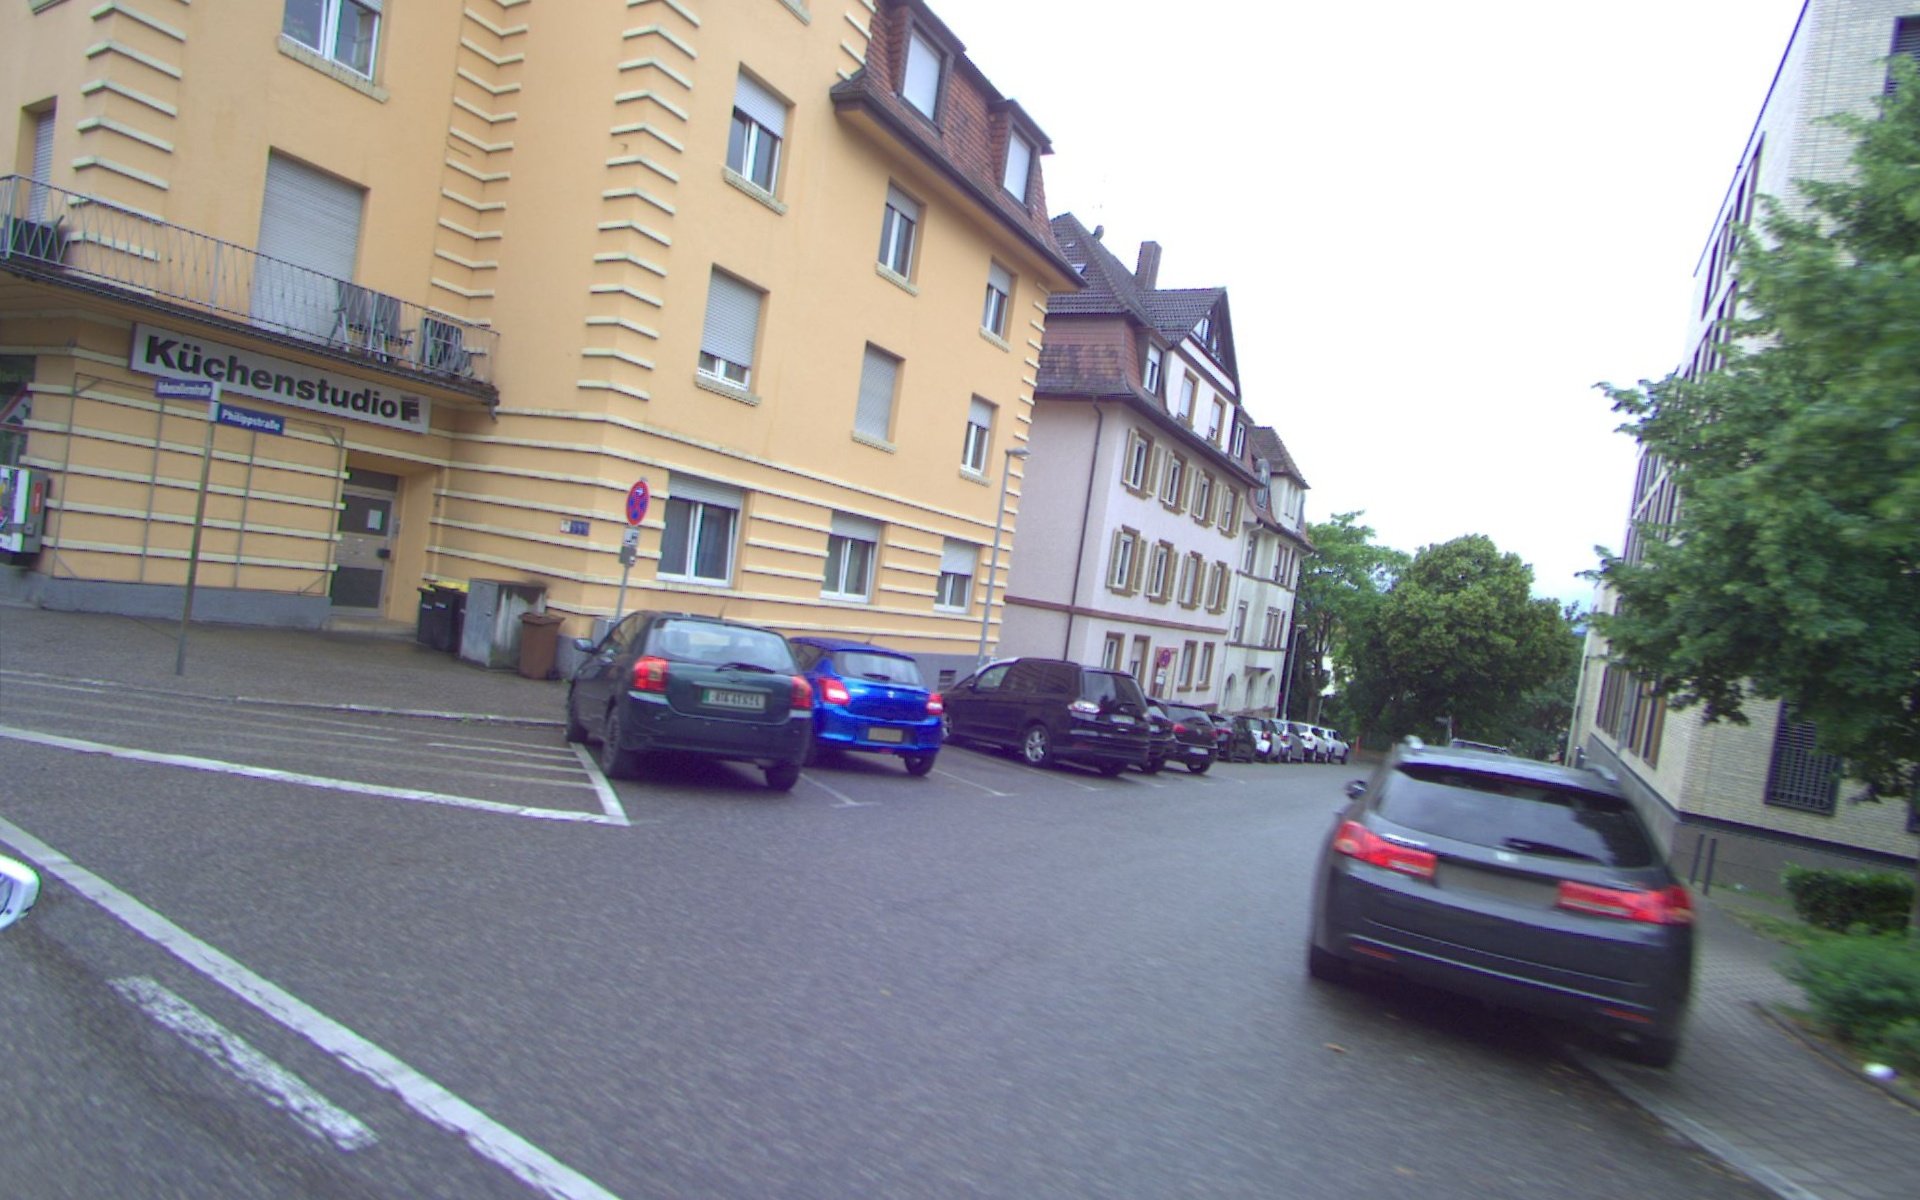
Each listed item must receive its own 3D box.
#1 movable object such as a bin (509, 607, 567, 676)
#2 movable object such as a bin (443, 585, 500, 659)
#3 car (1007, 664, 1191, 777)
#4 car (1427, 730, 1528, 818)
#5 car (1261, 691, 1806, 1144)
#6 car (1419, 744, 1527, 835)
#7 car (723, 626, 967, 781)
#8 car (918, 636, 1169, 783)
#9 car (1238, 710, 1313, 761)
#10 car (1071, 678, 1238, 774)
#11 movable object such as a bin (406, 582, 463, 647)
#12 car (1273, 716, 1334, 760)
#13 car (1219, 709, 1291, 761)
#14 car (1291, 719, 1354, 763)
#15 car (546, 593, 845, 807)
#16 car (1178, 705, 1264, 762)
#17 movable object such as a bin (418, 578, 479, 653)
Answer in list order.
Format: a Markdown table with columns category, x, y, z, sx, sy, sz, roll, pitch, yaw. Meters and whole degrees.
| category | x | y | z | sx | sy | sz | roll | pitch | yaw |
| --- | --- | --- | --- | --- | --- | --- | --- | --- | --- |
| movable object such as a bin | -6.252 | 0.619 | 14.911 | 0.504 | 0.942 | 0.505 | 10 | 3 | 32 |
| movable object such as a bin | -7.536 | 0.348 | 15.530 | 0.504 | 1.055 | 0.505 | 10 | 3 | 32 |
| car | 2.619 | 2.294 | 19.782 | 1.690 | 1.485 | 3.590 | 11 | -2 | -26 |
| car | 13.664 | 4.513 | 26.415 | 1.935 | 1.726 | 4.336 | 10 | -3 | 31 |
| car | 3.401 | 1.596 | 6.481 | 1.967 | 1.514 | 4.284 | 9 | -3 | 26 |
| car | 11.206 | 4.062 | 21.968 | 1.747 | 1.440 | 3.530 | 10 | -3 | 28 |
| car | -1.600 | 1.221 | 12.791 | 1.690 | 1.508 | 3.614 | 9 | -5 | -28 |
| car | 1.288 | 1.804 | 17.472 | 1.694 | 1.744 | 4.497 | 10 | -2 | -34 |
| car | 12.428 | 5.357 | 39.463 | 1.796 | 1.551 | 3.861 | 10 | -3 | 31 |
| car | 4.168 | 2.705 | 22.105 | 1.687 | 1.487 | 3.590 | 6 | 0 | -26 |
| movable object such as a bin | -8.501 | 0.241 | 16.286 | 0.504 | 0.929 | 0.506 | 10 | 0 | 32 |
| car | 14.980 | 6.031 | 43.756 | 1.545 | 1.544 | 3.825 | 10 | -3 | 32 |
| car | 10.530 | 4.826 | 35.793 | 1.598 | 1.450 | 2.765 | 10 | -2 | 31 |
| car | 17.408 | 6.764 | 48.158 | 1.663 | 1.654 | 3.806 | 10 | -3 | 36 |
| car | -2.818 | 0.876 | 9.959 | 1.836 | 1.483 | 4.087 | 11 | -6 | -27 |
| car | 8.309 | 4.241 | 31.842 | 1.585 | 1.403 | 3.529 | 10 | -3 | 31 |
| movable object such as a bin | -8.075 | 0.247 | 15.893 | 0.504 | 1.069 | 0.506 | 12 | 1 | 32 |
